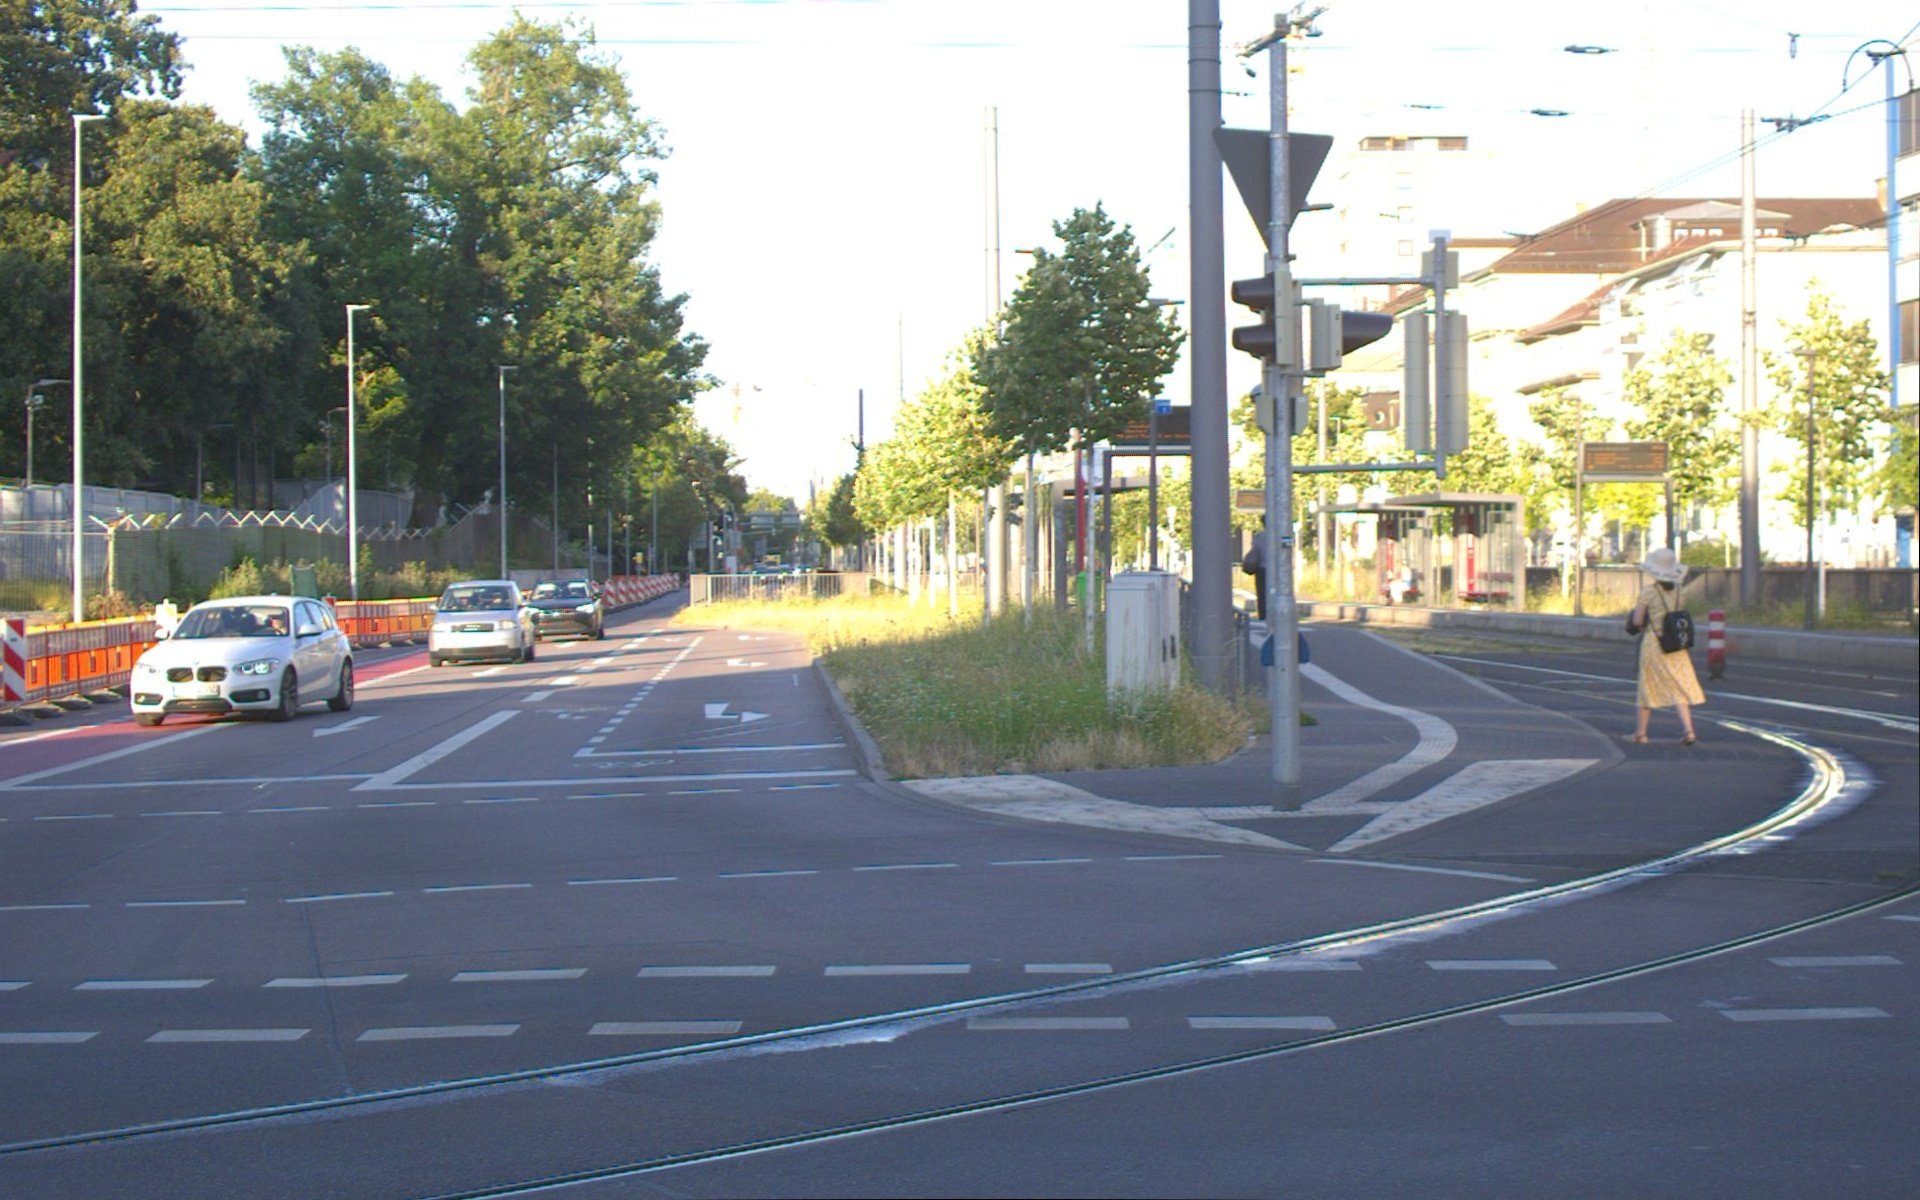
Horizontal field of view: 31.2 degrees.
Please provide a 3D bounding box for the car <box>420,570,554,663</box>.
[{"bbox_3d":[-8.545,0.272,62.345,1.675,1.556,3.726,-3,0,3],"label":"car"}]

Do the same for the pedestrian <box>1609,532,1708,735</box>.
[{"bbox_3d":[5.385,0.250,26.490,0.705,1.536,0.636,-1,1,14],"label":"pedestrian"}]

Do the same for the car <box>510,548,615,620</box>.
[{"bbox_3d":[-9.416,-0.409,81.671,1.938,1.612,4.392,-1,1,0],"label":"car"}]

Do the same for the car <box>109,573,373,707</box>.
[{"bbox_3d":[-8.361,0.428,40.348,1.910,1.401,4.304,-1,1,4],"label":"car"}]

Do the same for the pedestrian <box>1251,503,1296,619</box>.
[{"bbox_3d":[4.321,-0.543,47.409,0.564,1.585,0.690,-1,1,1],"label":"pedestrian"}]
